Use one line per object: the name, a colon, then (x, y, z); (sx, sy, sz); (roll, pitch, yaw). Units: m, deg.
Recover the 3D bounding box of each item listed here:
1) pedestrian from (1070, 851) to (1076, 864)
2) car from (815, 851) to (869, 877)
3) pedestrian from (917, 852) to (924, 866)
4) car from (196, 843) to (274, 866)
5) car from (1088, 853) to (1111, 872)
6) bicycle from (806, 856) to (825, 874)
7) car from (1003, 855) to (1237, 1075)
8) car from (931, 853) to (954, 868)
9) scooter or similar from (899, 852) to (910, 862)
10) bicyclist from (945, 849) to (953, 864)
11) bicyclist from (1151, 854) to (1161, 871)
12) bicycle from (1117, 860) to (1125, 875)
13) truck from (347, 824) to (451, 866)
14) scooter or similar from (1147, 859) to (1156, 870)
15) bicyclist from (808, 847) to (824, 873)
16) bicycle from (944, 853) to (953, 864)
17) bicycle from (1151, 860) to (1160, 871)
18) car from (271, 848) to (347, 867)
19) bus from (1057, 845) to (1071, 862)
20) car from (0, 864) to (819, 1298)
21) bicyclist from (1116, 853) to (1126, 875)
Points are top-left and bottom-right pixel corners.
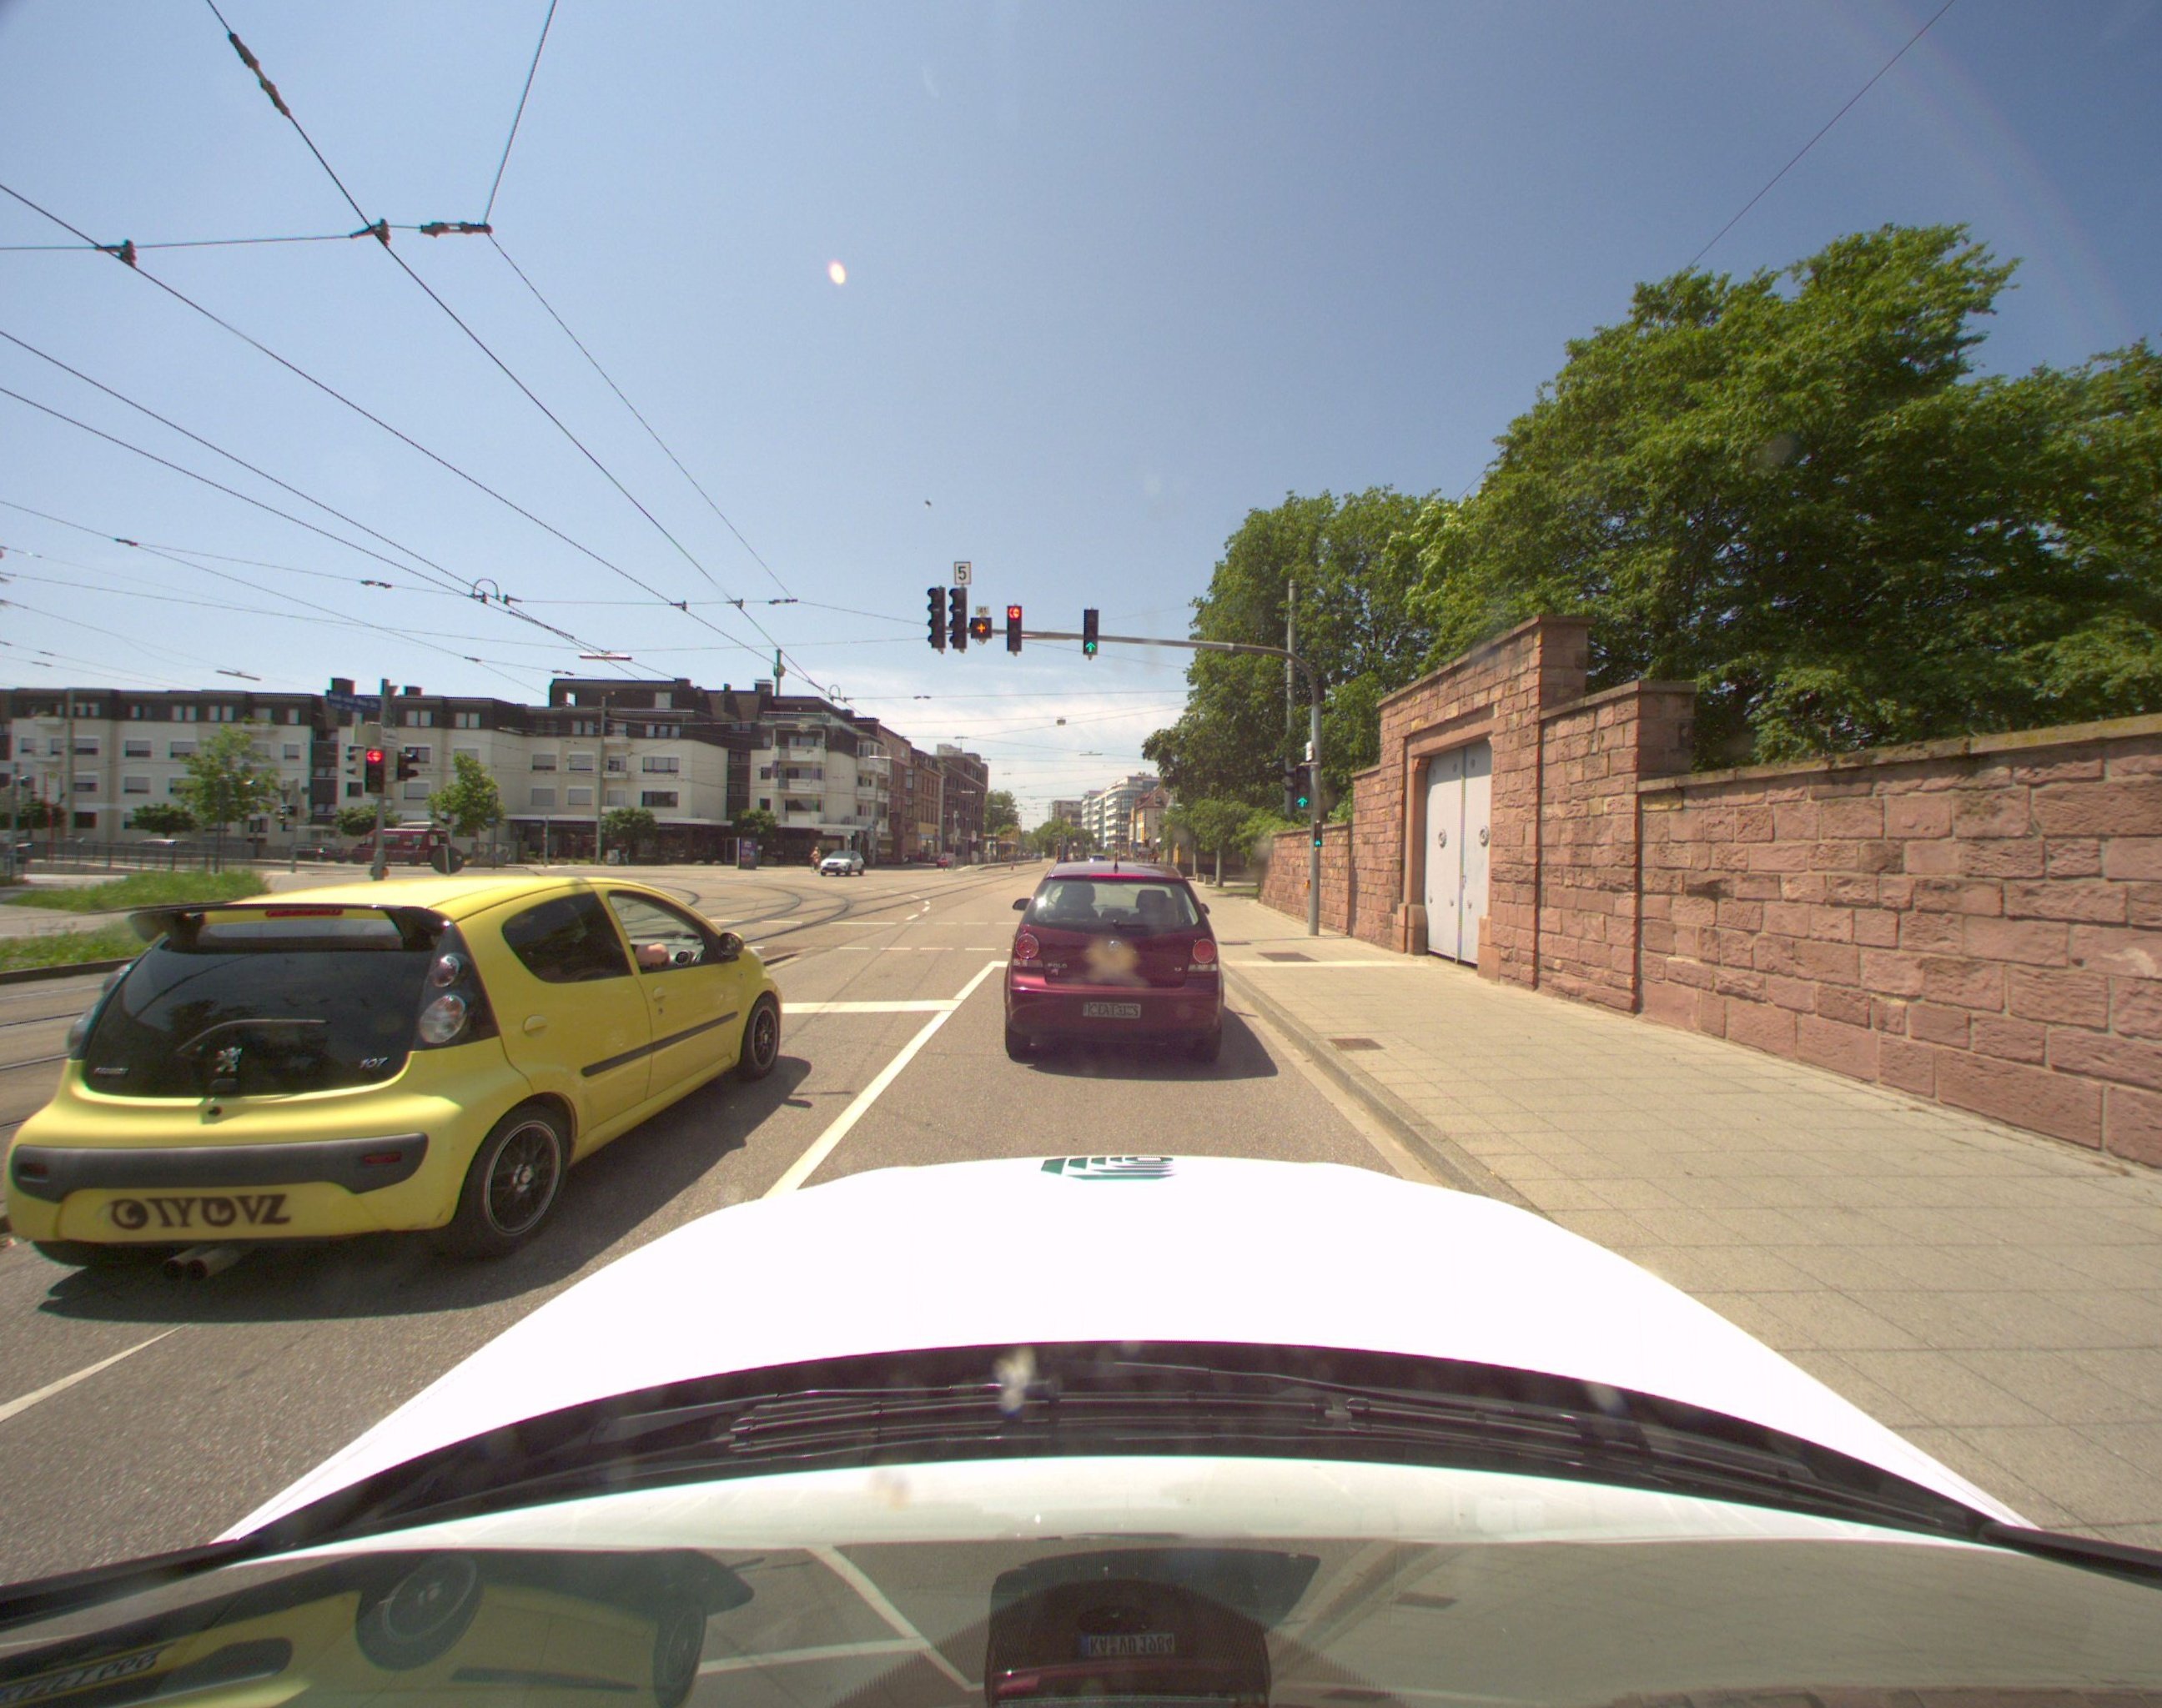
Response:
pedestrian: (-1.044, 0.480, 108.041); (0.760, 1.674, 1.101); (1, 0, 2)
car: (-14.729, 0.597, 50.393); (1.986, 1.553, 4.141); (1, 0, 2)
pedestrian: (-18.270, 0.549, 92.720); (0.612, 1.560, 0.640); (1, 0, 1)
car: (-56.129, 0.051, 54.078); (3.556, 1.433, 1.591); (1, 0, 2)
car: (1.655, 0.732, 74.393); (1.987, 1.624, 4.630); (1, 0, 0)
bicycle: (-18.565, 0.748, 56.963); (0.692, 1.149, 1.932); (1, 1, 1)
car: (0.289, 0.751, 7.025); (1.556, 1.453, 3.062); (1, 0, 1)
car: (-14.482, 0.651, 85.307); (1.619, 1.484, 3.829); (1, 0, 0)
scooter or similar: (-20.041, 0.315, 92.568); (0.484, 1.082, 1.584); (1, 0, 18)
bicyclist: (-15.979, 0.275, 98.293); (0.729, 1.762, 1.135); (1, 0, 1)
bicyclist: (7.481, 0.840, 81.265); (0.829, 1.618, 0.860); (-3, 0, 1)
bicycle: (3.259, 1.121, 66.363); (0.373, 1.197, 1.910); (1, 0, 9)
truck: (-45.292, -0.584, 54.171); (5.007, 2.698, 2.188); (1, 0, 1)
scooter or similar: (7.274, 1.096, 84.185); (0.340, 1.178, 1.457); (1, 0, -22)
bicyclist: (-18.561, 0.425, 57.079); (0.692, 1.765, 1.137); (1, 1, 1)
bicycle: (-15.984, 0.501, 98.202); (0.674, 1.304, 2.105); (1, 0, 1)
bicycle: (7.430, 1.156, 81.175); (0.666, 1.002, 1.864); (-3, 0, 1)
car: (-51.381, 0.214, 54.259); (3.556, 1.219, 1.591); (1, 0, 2)
bus: (-3.066, -0.054, 147.894); (2.136, 3.003, 6.577); (1, 0, 2)
car: (-2.910, 0.790, 4.595); (1.610, 1.421, 3.656); (-1, -1, 1)
bicyclist: (3.251, 0.829, 66.294); (0.723, 1.760, 0.926); (1, 0, 8)
